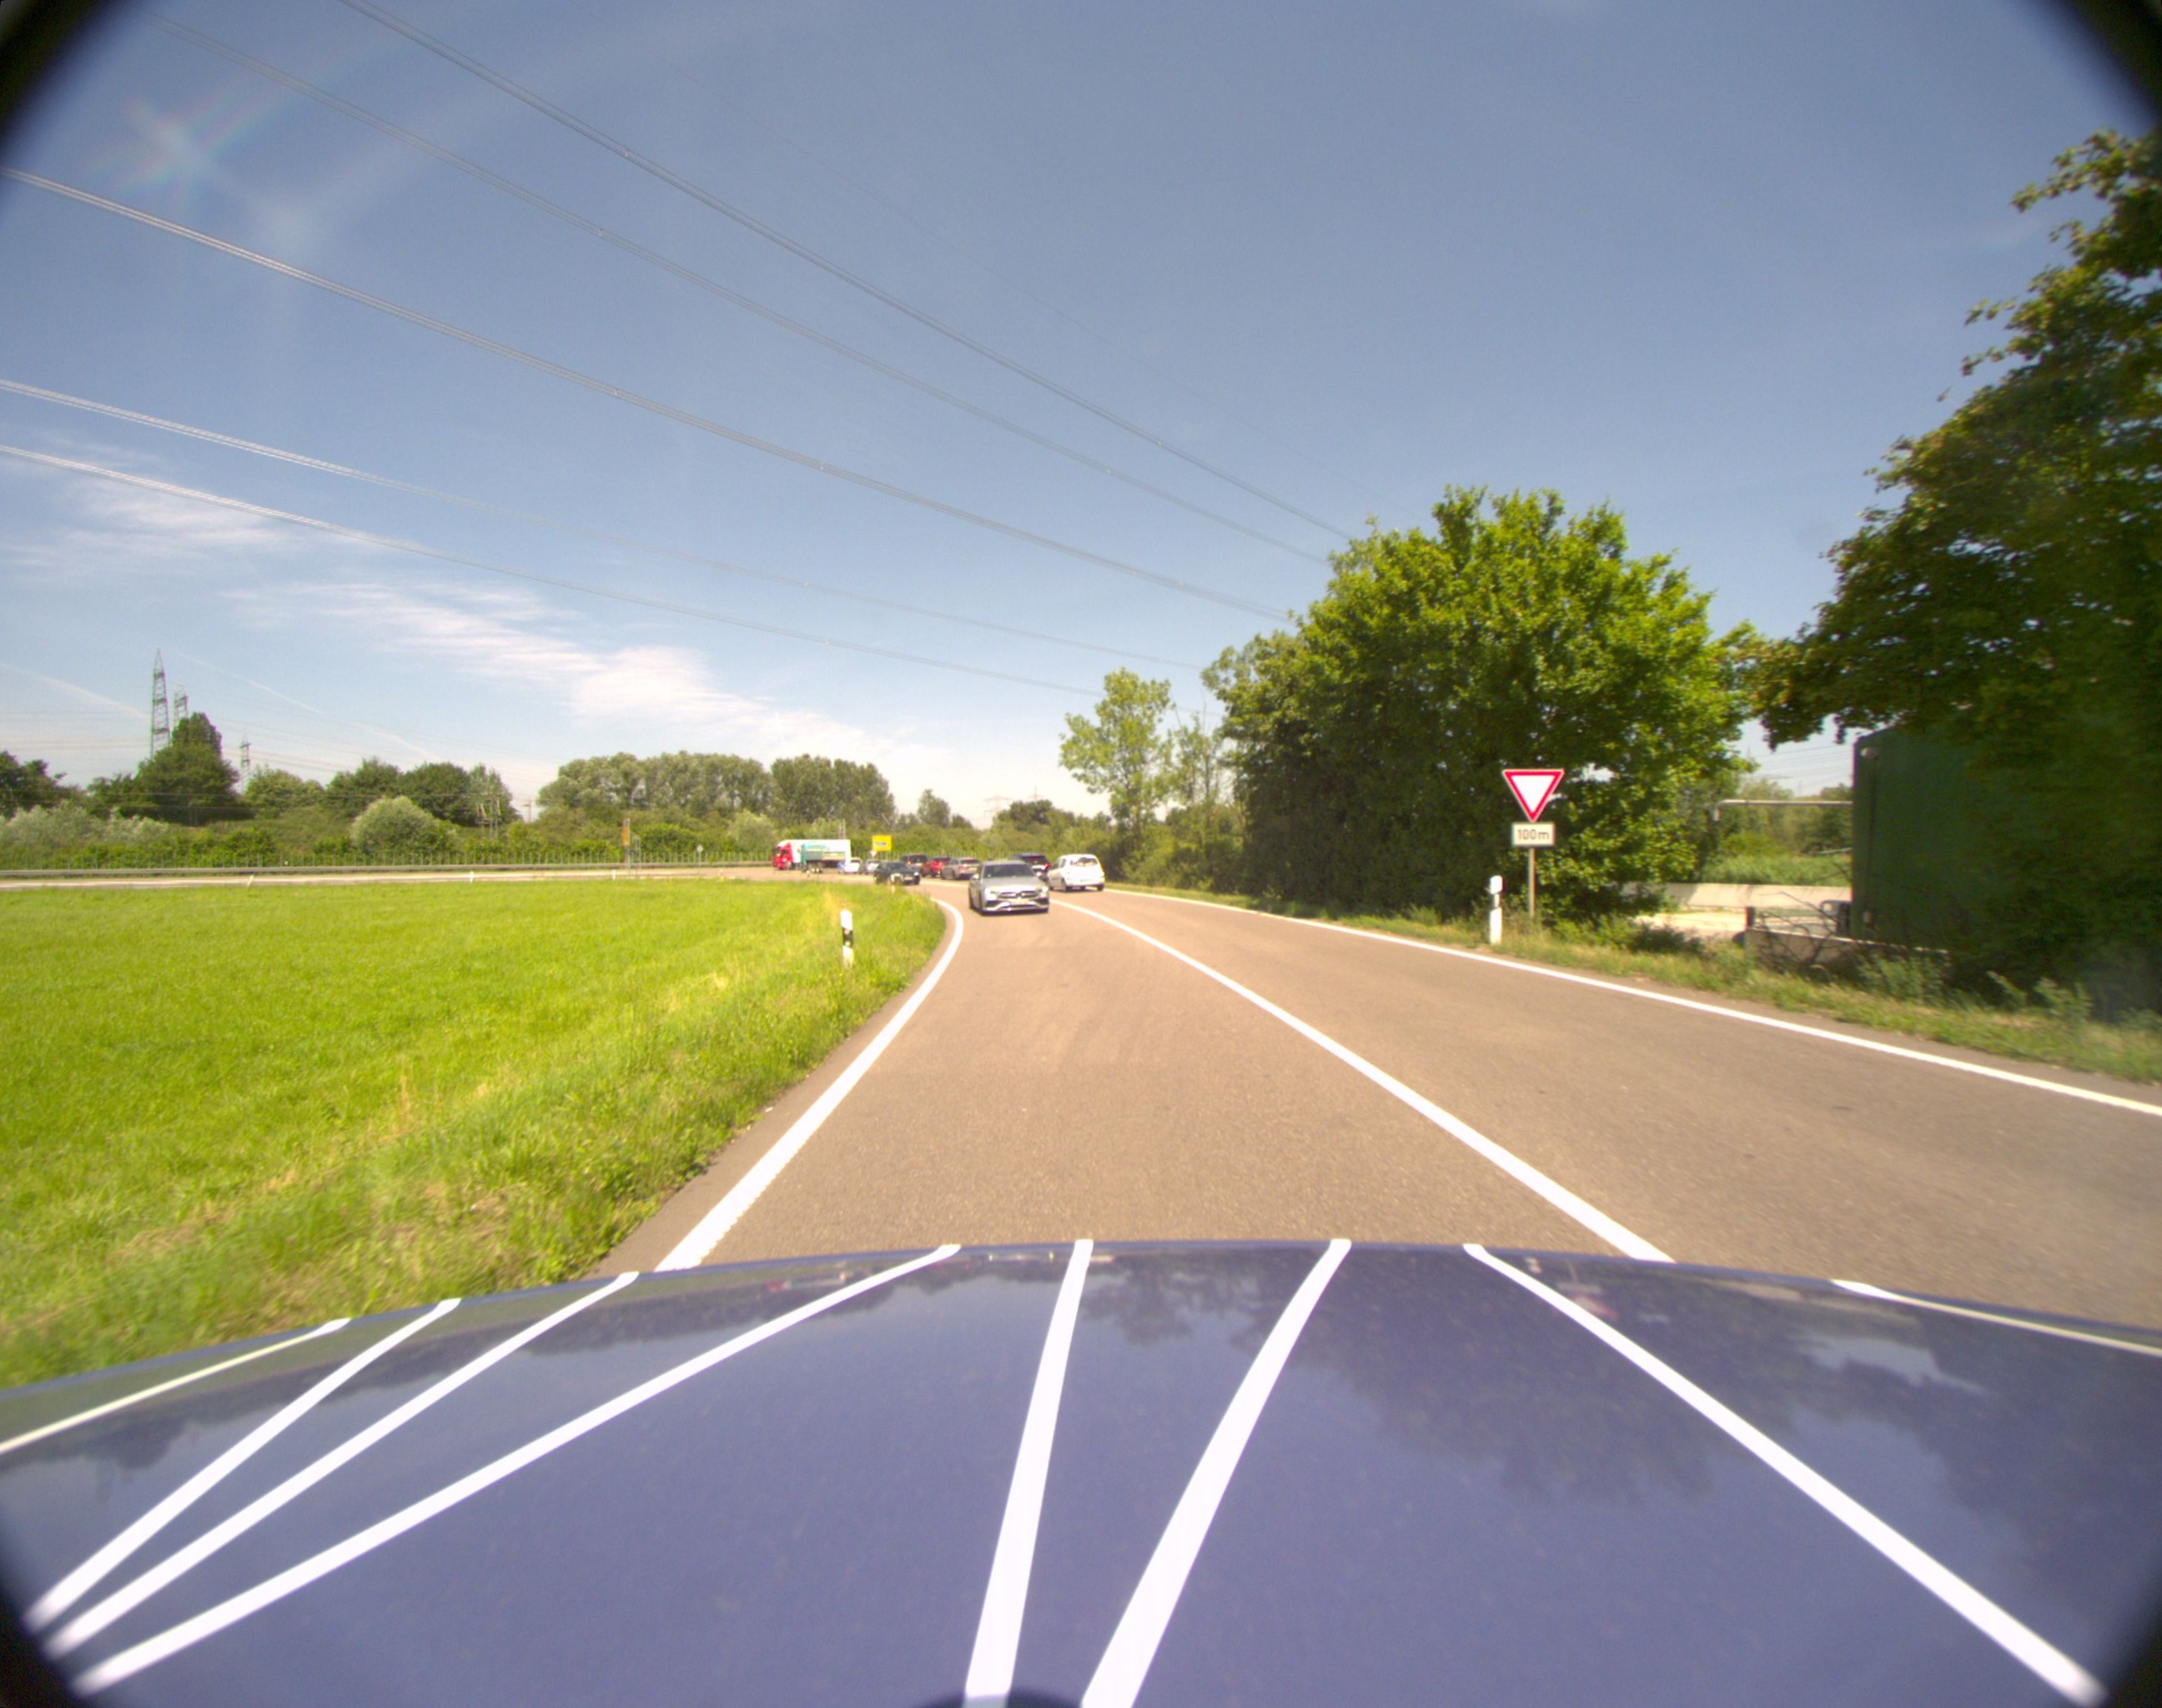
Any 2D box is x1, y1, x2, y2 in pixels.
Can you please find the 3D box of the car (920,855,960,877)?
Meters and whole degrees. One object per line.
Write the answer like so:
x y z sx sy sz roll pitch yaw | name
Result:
-10.306 0.841 55.486 1.807 1.507 4.382 0 1 -25 | car

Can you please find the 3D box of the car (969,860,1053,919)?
-2.091 0.947 21.608 1.826 1.477 4.144 -1 -1 -13 | car

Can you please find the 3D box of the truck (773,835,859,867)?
-32.617 -0.423 93.799 9.573 3.559 2.717 -3 2 -43 | truck

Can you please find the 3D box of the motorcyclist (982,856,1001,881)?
-5.393 0.854 45.644 0.784 1.486 1.128 -2 1 -25 | motorcyclist

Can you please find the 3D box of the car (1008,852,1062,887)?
-2.412 0.742 38.789 1.708 1.628 4.242 -3 1 -18 | car

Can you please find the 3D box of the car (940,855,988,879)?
-7.748 0.810 49.978 1.849 1.452 4.798 -2 1 -25 | car

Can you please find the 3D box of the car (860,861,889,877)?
-19.267 1.374 70.705 1.640 1.451 3.998 -1 0 -30 | car

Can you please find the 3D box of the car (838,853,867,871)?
-22.876 0.788 75.975 1.780 1.611 4.320 -3 1 -30 | car

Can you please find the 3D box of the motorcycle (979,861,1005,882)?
-5.372 1.043 45.585 0.785 1.117 2.424 -3 2 -25 | motorcycle

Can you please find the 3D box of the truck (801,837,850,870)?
-27.562 -0.046 81.794 2.615 3.451 7.589 -1 0 -37 | truck

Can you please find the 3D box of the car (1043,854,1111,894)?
-0.220 0.770 31.201 1.543 1.435 3.600 -4 2 -22 | car

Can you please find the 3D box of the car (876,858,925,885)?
-10.811 0.998 45.281 1.828 1.431 4.138 -1 1 -28 | car

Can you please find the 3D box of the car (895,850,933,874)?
-13.591 0.642 61.795 1.935 1.822 4.428 -1 1 -27 | car
